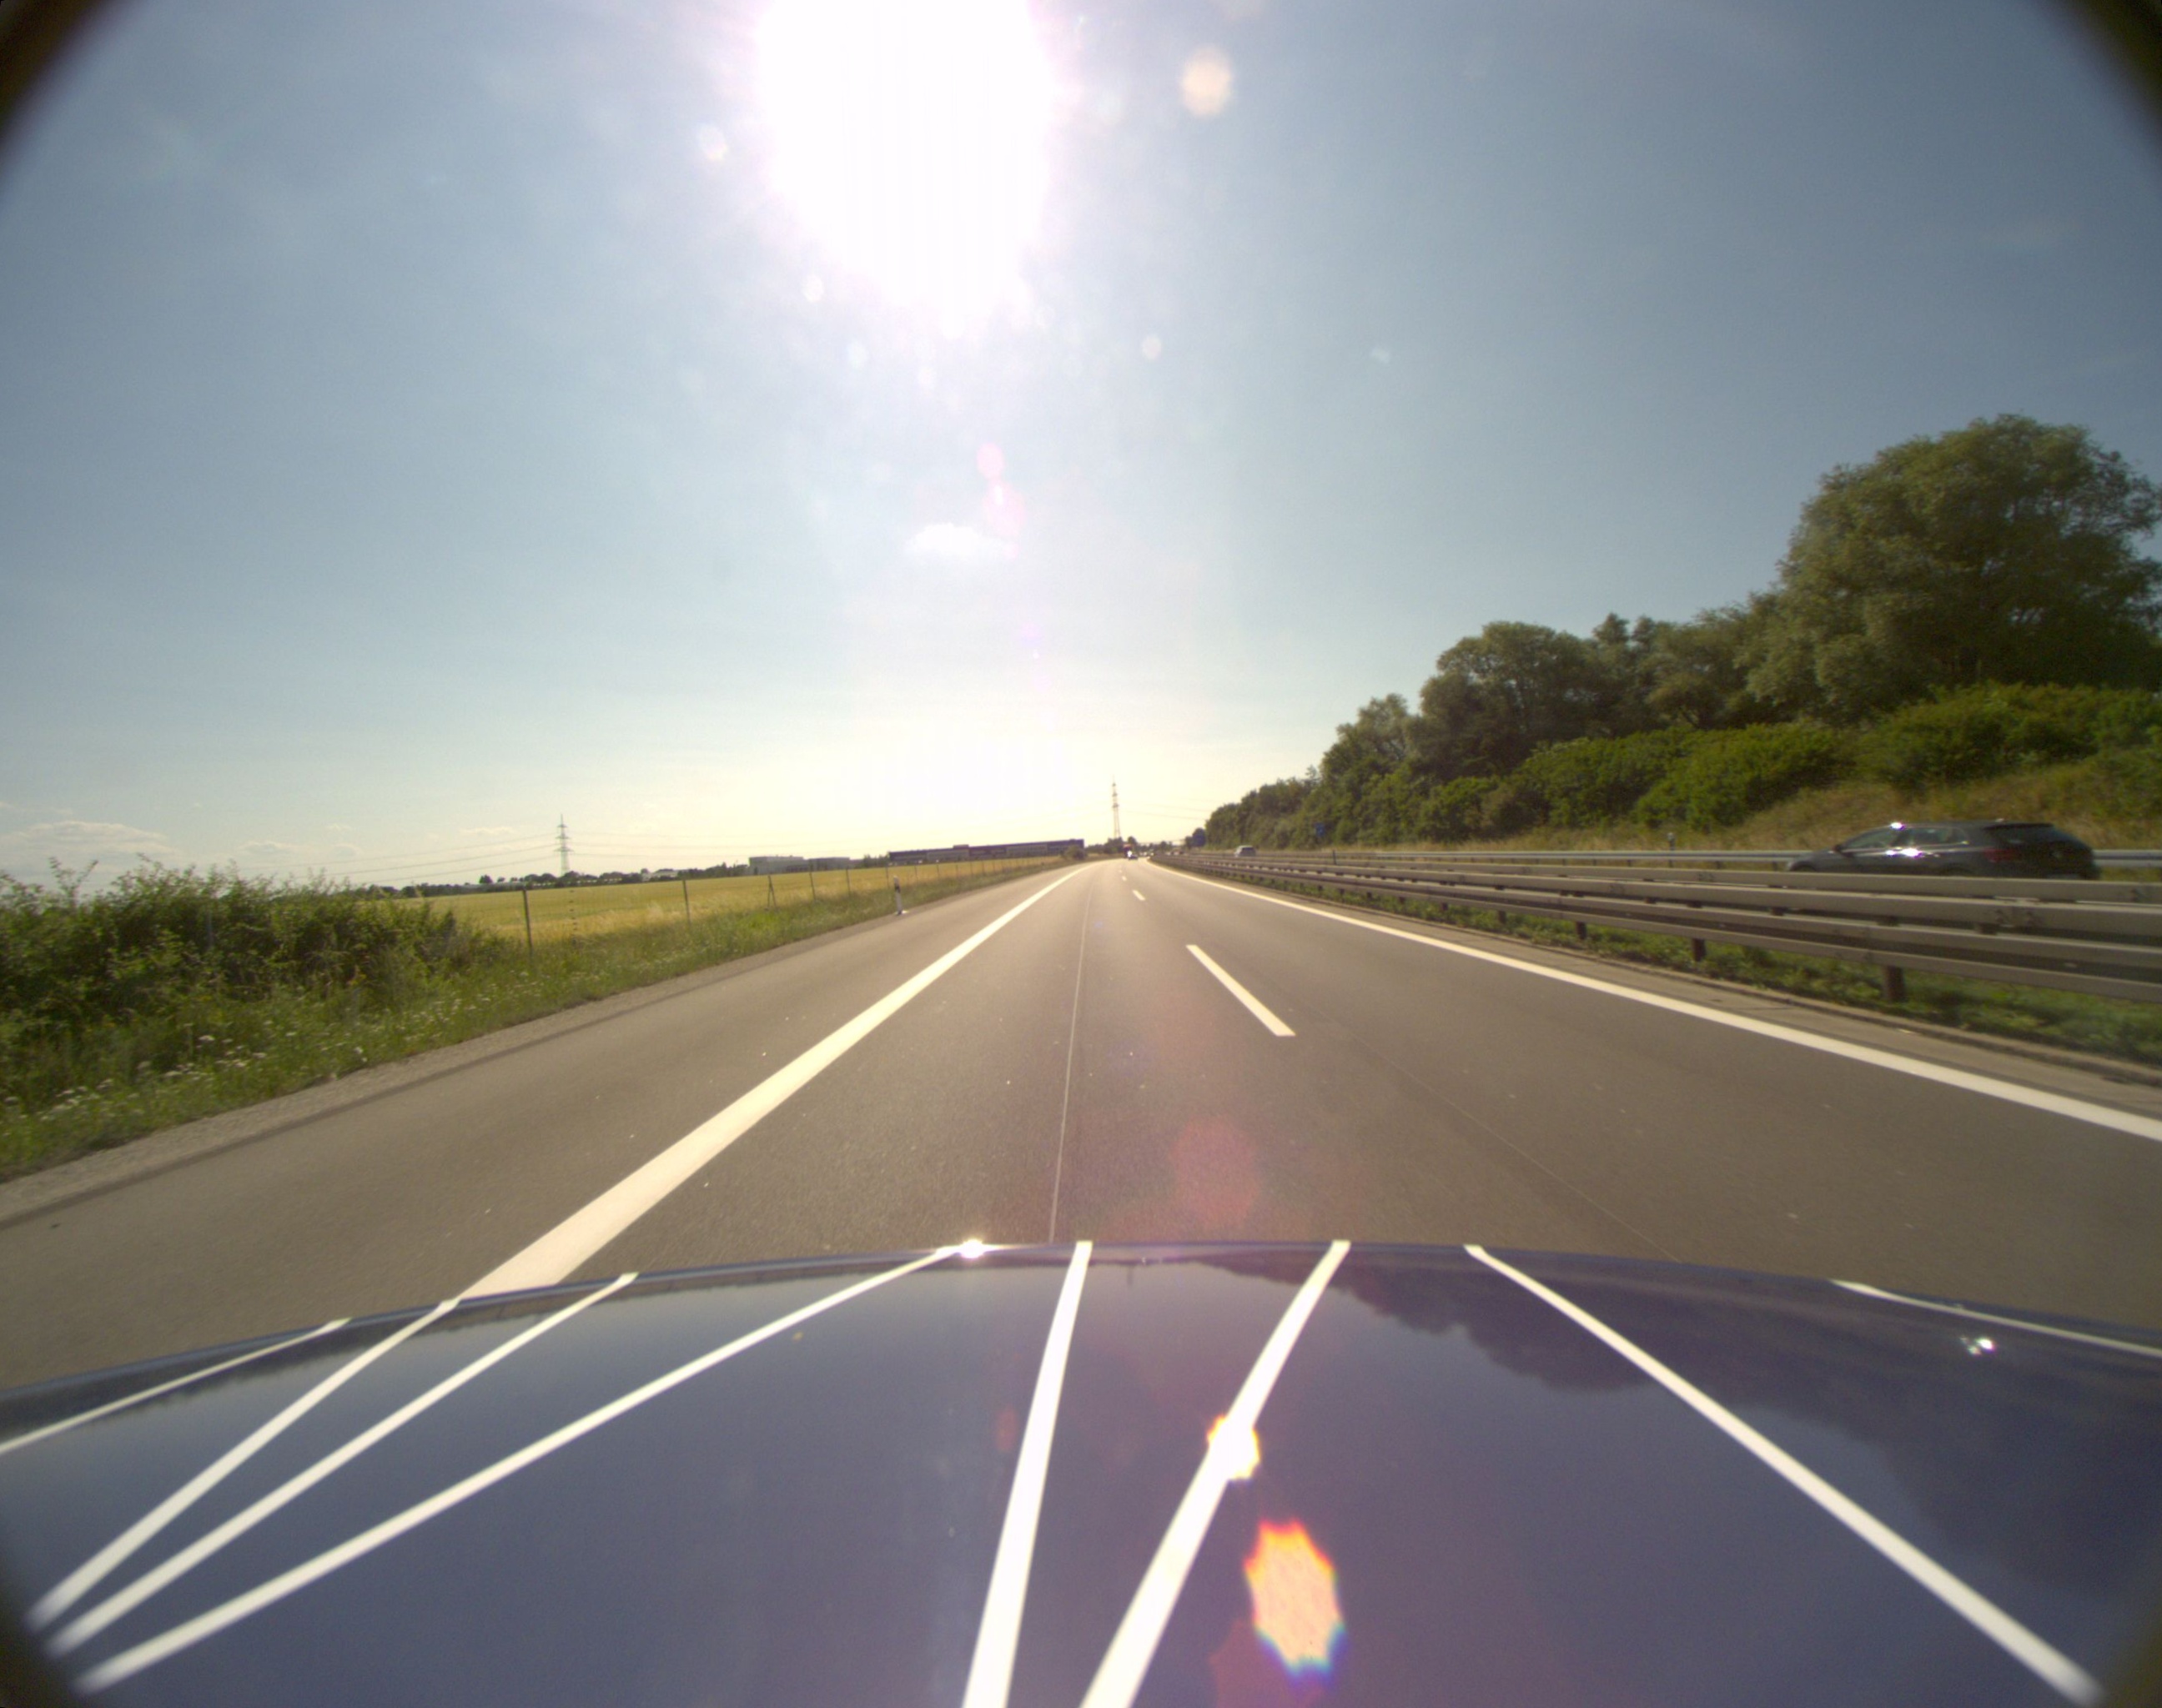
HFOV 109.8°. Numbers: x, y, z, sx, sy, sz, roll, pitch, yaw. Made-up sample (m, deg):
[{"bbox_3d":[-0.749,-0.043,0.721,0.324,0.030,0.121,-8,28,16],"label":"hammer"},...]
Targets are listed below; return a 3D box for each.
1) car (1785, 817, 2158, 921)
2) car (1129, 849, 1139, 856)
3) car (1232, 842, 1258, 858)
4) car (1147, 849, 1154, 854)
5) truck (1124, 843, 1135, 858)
[{"bbox_3d":[14.951,0.207,13.191,1.582,1.453,4.152,-3,0,0],"label":"car"},{"bbox_3d":[10.634,-0.337,152.587,1.860,1.361,4.001,-3,1,5],"label":"car"},{"bbox_3d":[17.177,-0.402,79.873,1.755,1.556,4.580,-3,0,2],"label":"car"},{"bbox_3d":[22.971,-0.946,250.615,1.755,1.556,4.580,-3,0,1],"label":"car"},{"bbox_3d":[13.978,-1.044,219.347,2.569,3.938,8.647,-5,0,6],"label":"truck"}]
